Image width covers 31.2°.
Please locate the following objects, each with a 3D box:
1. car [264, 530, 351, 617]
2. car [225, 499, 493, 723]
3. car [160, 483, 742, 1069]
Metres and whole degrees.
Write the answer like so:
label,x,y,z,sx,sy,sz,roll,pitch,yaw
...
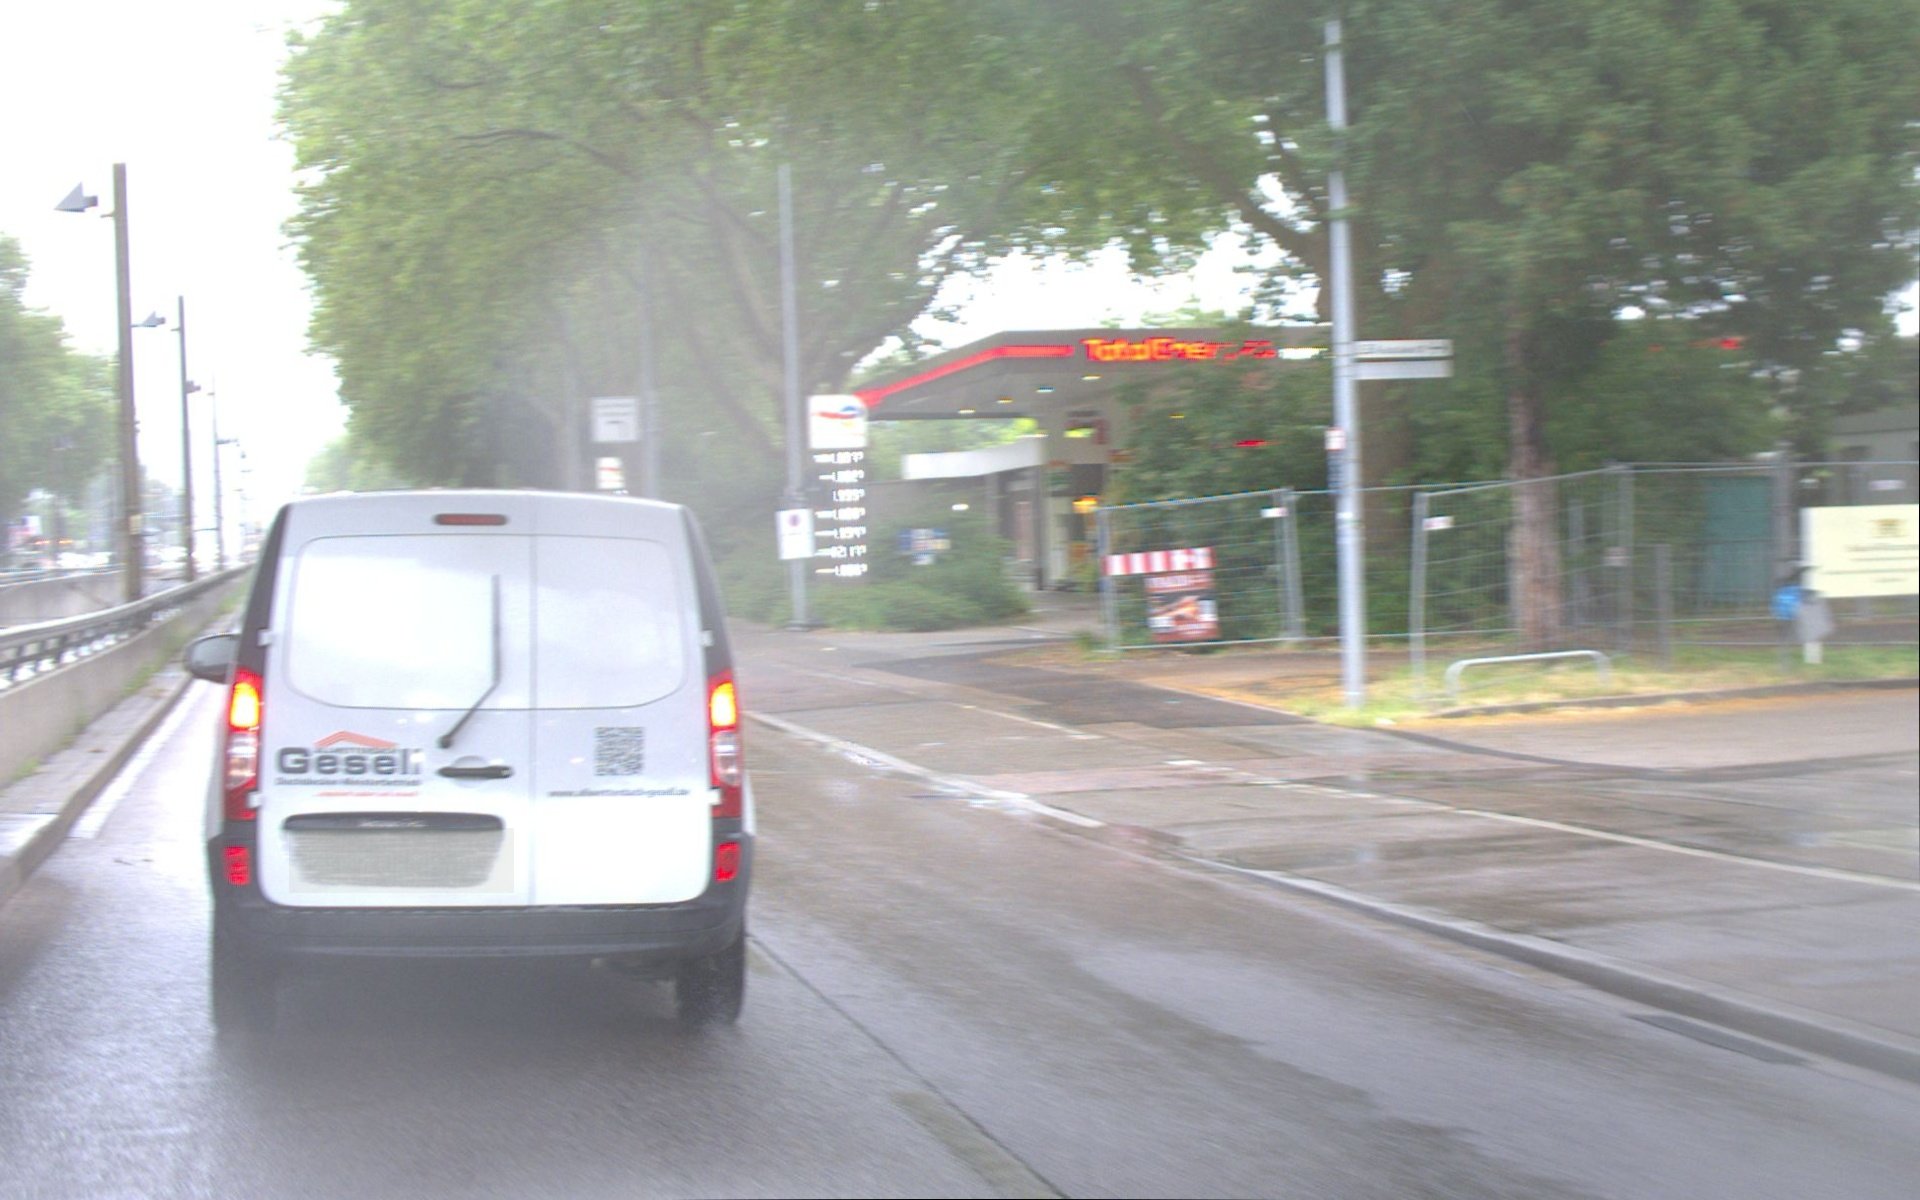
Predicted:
label,x,y,z,sx,sy,sz,roll,pitch,yaw
car,-16.604,-0.677,87.677,2.048,2.133,4.001,-1,0,-9
car,-4.864,0.069,27.643,1.917,1.603,4.001,-2,1,-11
car,-1.984,0.551,12.535,1.755,1.771,4.001,1,0,-13
